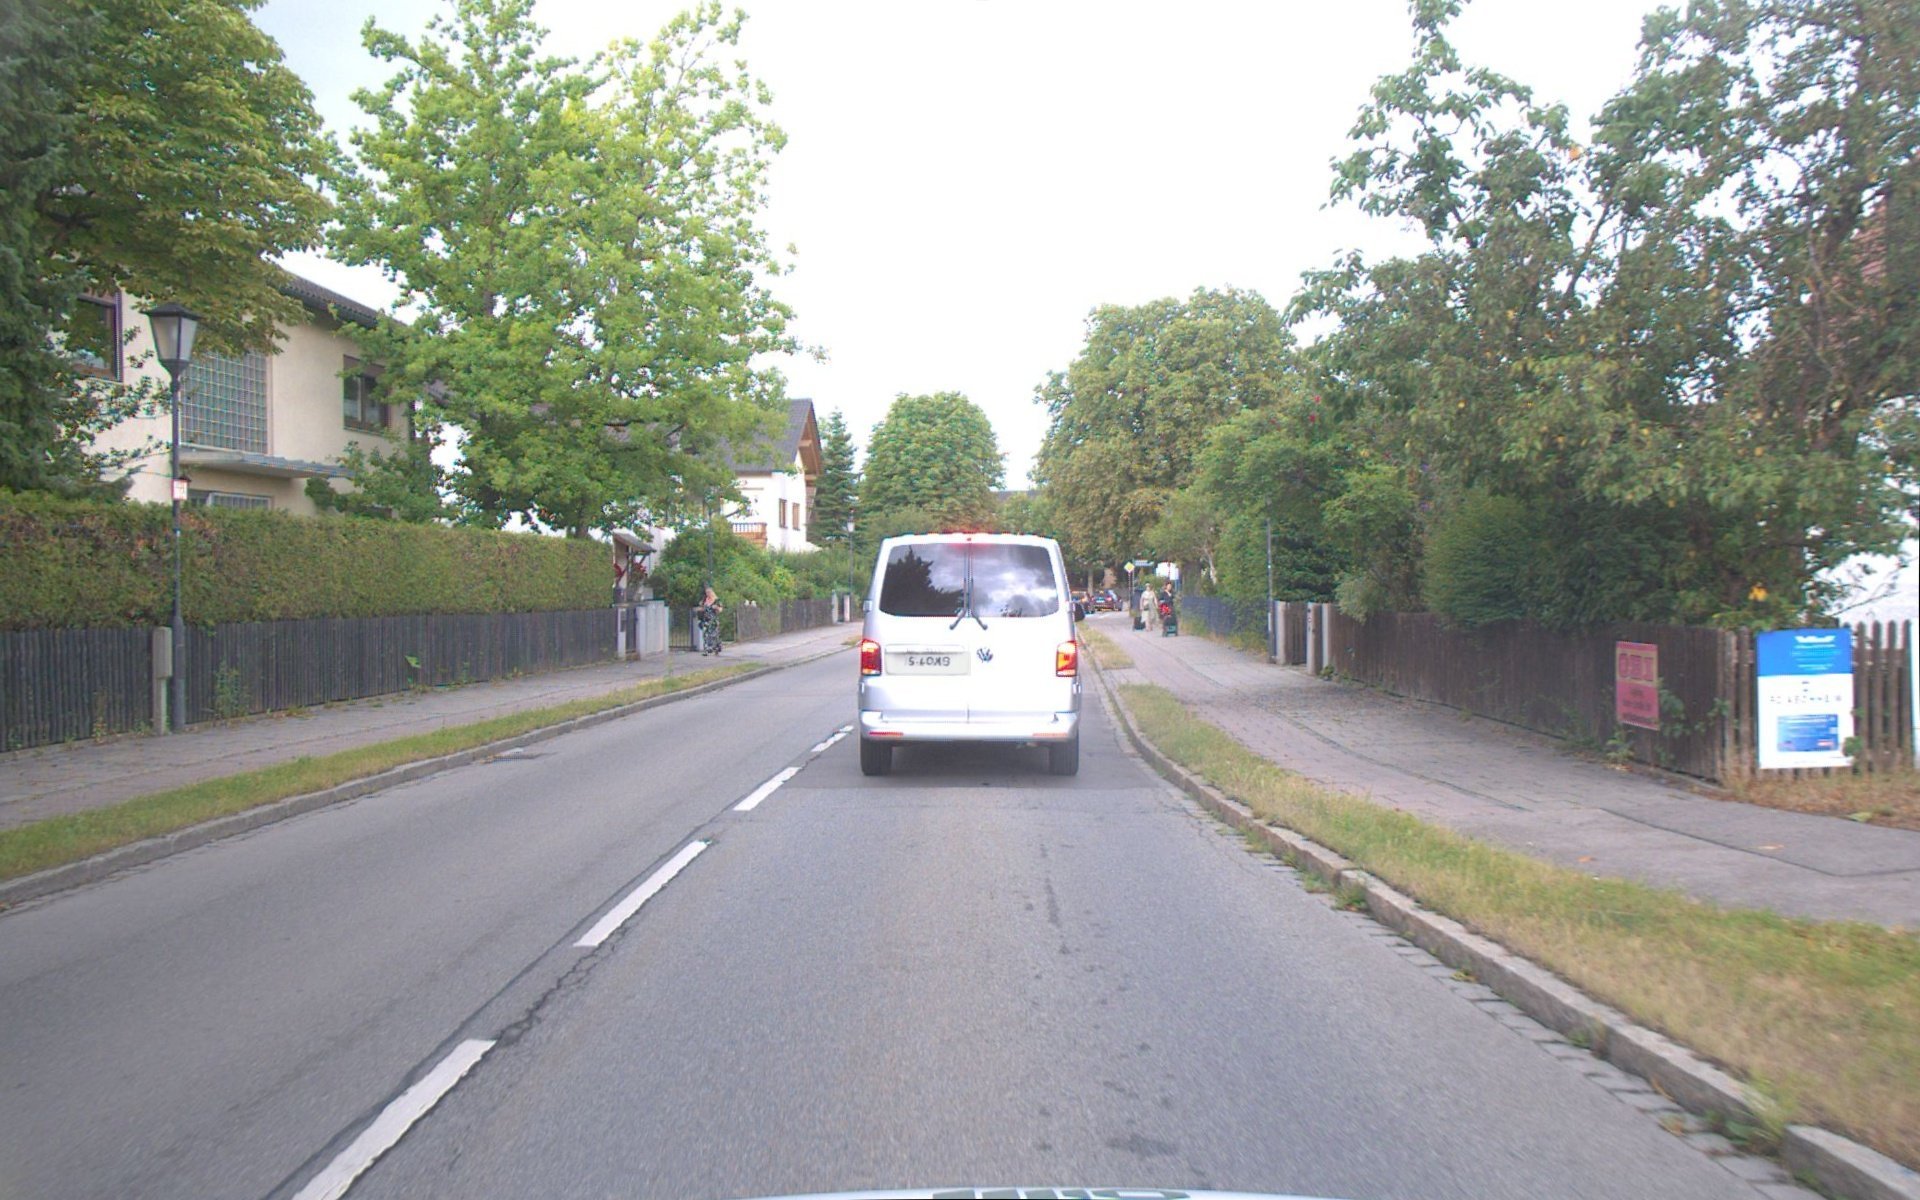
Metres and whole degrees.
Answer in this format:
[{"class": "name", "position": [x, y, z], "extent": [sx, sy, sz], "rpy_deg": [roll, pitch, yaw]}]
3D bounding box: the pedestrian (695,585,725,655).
[{"class": "pedestrian", "position": [-5.737, 0.452, 37.913], "extent": [0.611, 1.576, 0.521], "rpy_deg": [1, 0, -13]}]

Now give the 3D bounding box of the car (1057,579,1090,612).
[{"class": "car", "position": [7.258, -0.299, 105.755], "extent": [1.951, 2.049, 4.003], "rpy_deg": [-1, 0, 6]}]

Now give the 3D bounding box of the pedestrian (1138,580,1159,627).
[{"class": "pedestrian", "position": [6.380, 0.121, 55.888], "extent": [0.609, 1.550, 0.579], "rpy_deg": [1, 0, -1]}]

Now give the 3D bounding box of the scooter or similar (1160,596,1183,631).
[{"class": "scooter or similar", "position": [6.059, 0.393, 47.444], "extent": [0.540, 0.988, 0.620], "rpy_deg": [1, 0, -1]}]

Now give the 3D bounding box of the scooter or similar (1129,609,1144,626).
[{"class": "scooter or similar", "position": [6.027, 0.598, 56.545], "extent": [0.464, 0.554, 0.458], "rpy_deg": [1, 0, -1]}]

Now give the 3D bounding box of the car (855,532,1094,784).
[{"class": "car", "position": [0.190, 0.447, 14.855], "extent": [1.848, 1.945, 4.001], "rpy_deg": [0, 0, 2]}]

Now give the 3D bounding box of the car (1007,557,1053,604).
[{"class": "car", "position": [3.221, -0.856, 75.538], "extent": [1.952, 2.049, 4.002], "rpy_deg": [1, 0, 4]}]

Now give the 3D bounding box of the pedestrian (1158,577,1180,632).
[{"class": "pedestrian", "position": [6.082, 0.132, 48.151], "extent": [0.540, 1.576, 0.612], "rpy_deg": [1, 0, -1]}]

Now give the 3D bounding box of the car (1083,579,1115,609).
[{"class": "car", "position": [9.738, -0.445, 115.691], "extent": [1.951, 2.049, 4.004], "rpy_deg": [-1, 0, 9]}]
